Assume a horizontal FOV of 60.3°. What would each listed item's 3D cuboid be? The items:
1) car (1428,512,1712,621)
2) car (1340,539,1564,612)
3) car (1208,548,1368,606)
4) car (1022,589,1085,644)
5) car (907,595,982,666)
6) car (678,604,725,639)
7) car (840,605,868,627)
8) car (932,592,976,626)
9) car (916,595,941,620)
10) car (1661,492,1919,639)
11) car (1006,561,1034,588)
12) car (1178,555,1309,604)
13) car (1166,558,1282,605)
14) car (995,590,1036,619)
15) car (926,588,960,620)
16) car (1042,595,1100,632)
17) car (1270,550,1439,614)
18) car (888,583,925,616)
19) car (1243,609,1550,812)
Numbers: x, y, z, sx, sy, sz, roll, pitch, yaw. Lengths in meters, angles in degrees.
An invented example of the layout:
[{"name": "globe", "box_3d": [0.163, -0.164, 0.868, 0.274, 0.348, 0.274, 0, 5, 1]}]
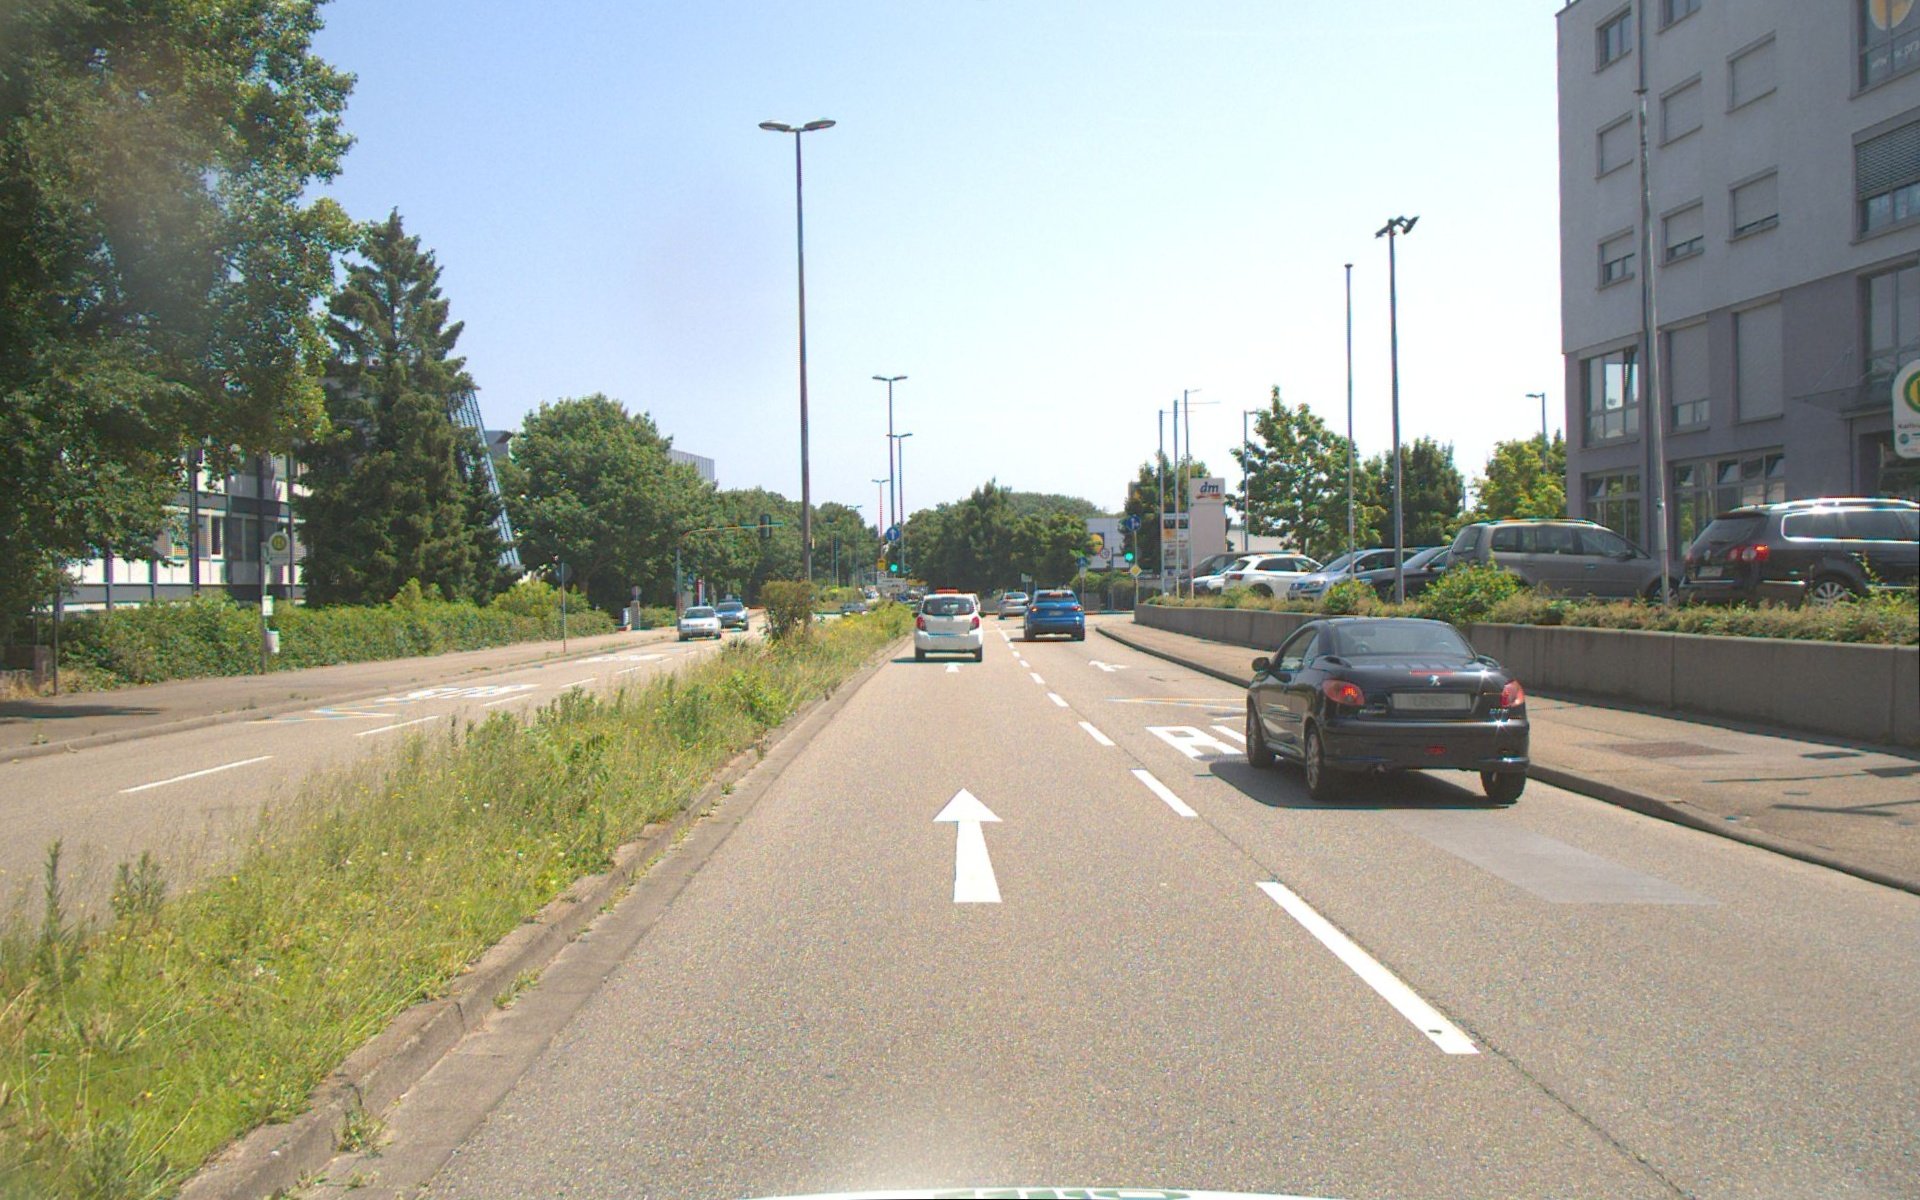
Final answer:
[{"name": "car", "box_3d": [10.520, -0.564, 28.747, 4.142, 1.676, 1.999, -2, 0, -2]}, {"name": "car", "box_3d": [10.624, -0.517, 35.921, 4.234, 1.392, 1.999, -2, 0, -3]}, {"name": "car", "box_3d": [9.954, -0.676, 50.405, 4.443, 1.571, 1.999, -2, 0, -2]}, {"name": "car", "box_3d": [2.952, 0.503, 52.836, 1.790, 1.607, 3.605, -1, 1, 0]}, {"name": "car", "box_3d": [-0.339, 0.679, 39.233, 1.712, 1.546, 3.746, 0, 1, 0]}, {"name": "car", "box_3d": [-11.183, 0.922, 71.775, 1.702, 1.437, 4.366, -1, 0, -5]}, {"name": "car", "box_3d": [-6.465, 0.962, 100.960, 1.544, 1.291, 3.725, -1, 0, -6]}, {"name": "car", "box_3d": [-0.308, 0.411, 77.883, 1.953, 1.467, 3.999, -1, 0, -2]}, {"name": "car", "box_3d": [-2.297, 0.513, 121.115, 1.761, 1.719, 3.999, -2, 0, -1]}, {"name": "car", "box_3d": [11.130, -0.441, 20.026, 4.408, 1.610, 1.999, -2, 0, -2]}, {"name": "car", "box_3d": [4.697, -1.998, 130.117, 1.735, 2.048, 3.987, -2, 1, -4]}, {"name": "car", "box_3d": [10.094, -0.709, 59.125, 4.260, 1.571, 1.999, -2, 0, -3]}, {"name": "car", "box_3d": [9.851, -0.692, 61.876, 3.908, 1.571, 1.999, -2, 0, -3]}, {"name": "car", "box_3d": [2.990, 0.225, 89.859, 1.953, 1.445, 3.999, -2, 0, -1]}, {"name": "car", "box_3d": [-1.017, 0.210, 96.388, 1.741, 1.770, 3.997, -1, 0, -4]}, {"name": "car", "box_3d": [4.438, 0.522, 65.761, 1.428, 1.400, 3.493, -1, 0, 18]}, {"name": "car", "box_3d": [10.123, -0.461, 42.507, 3.862, 1.477, 1.755, -2, 0, -19]}, {"name": "car", "box_3d": [-2.974, -0.069, 90.769, 1.784, 1.691, 3.996, -1, 1, -5]}, {"name": "car", "box_3d": [3.491, 0.817, 13.867, 1.594, 1.388, 3.605, 0, 1, 0]}]
